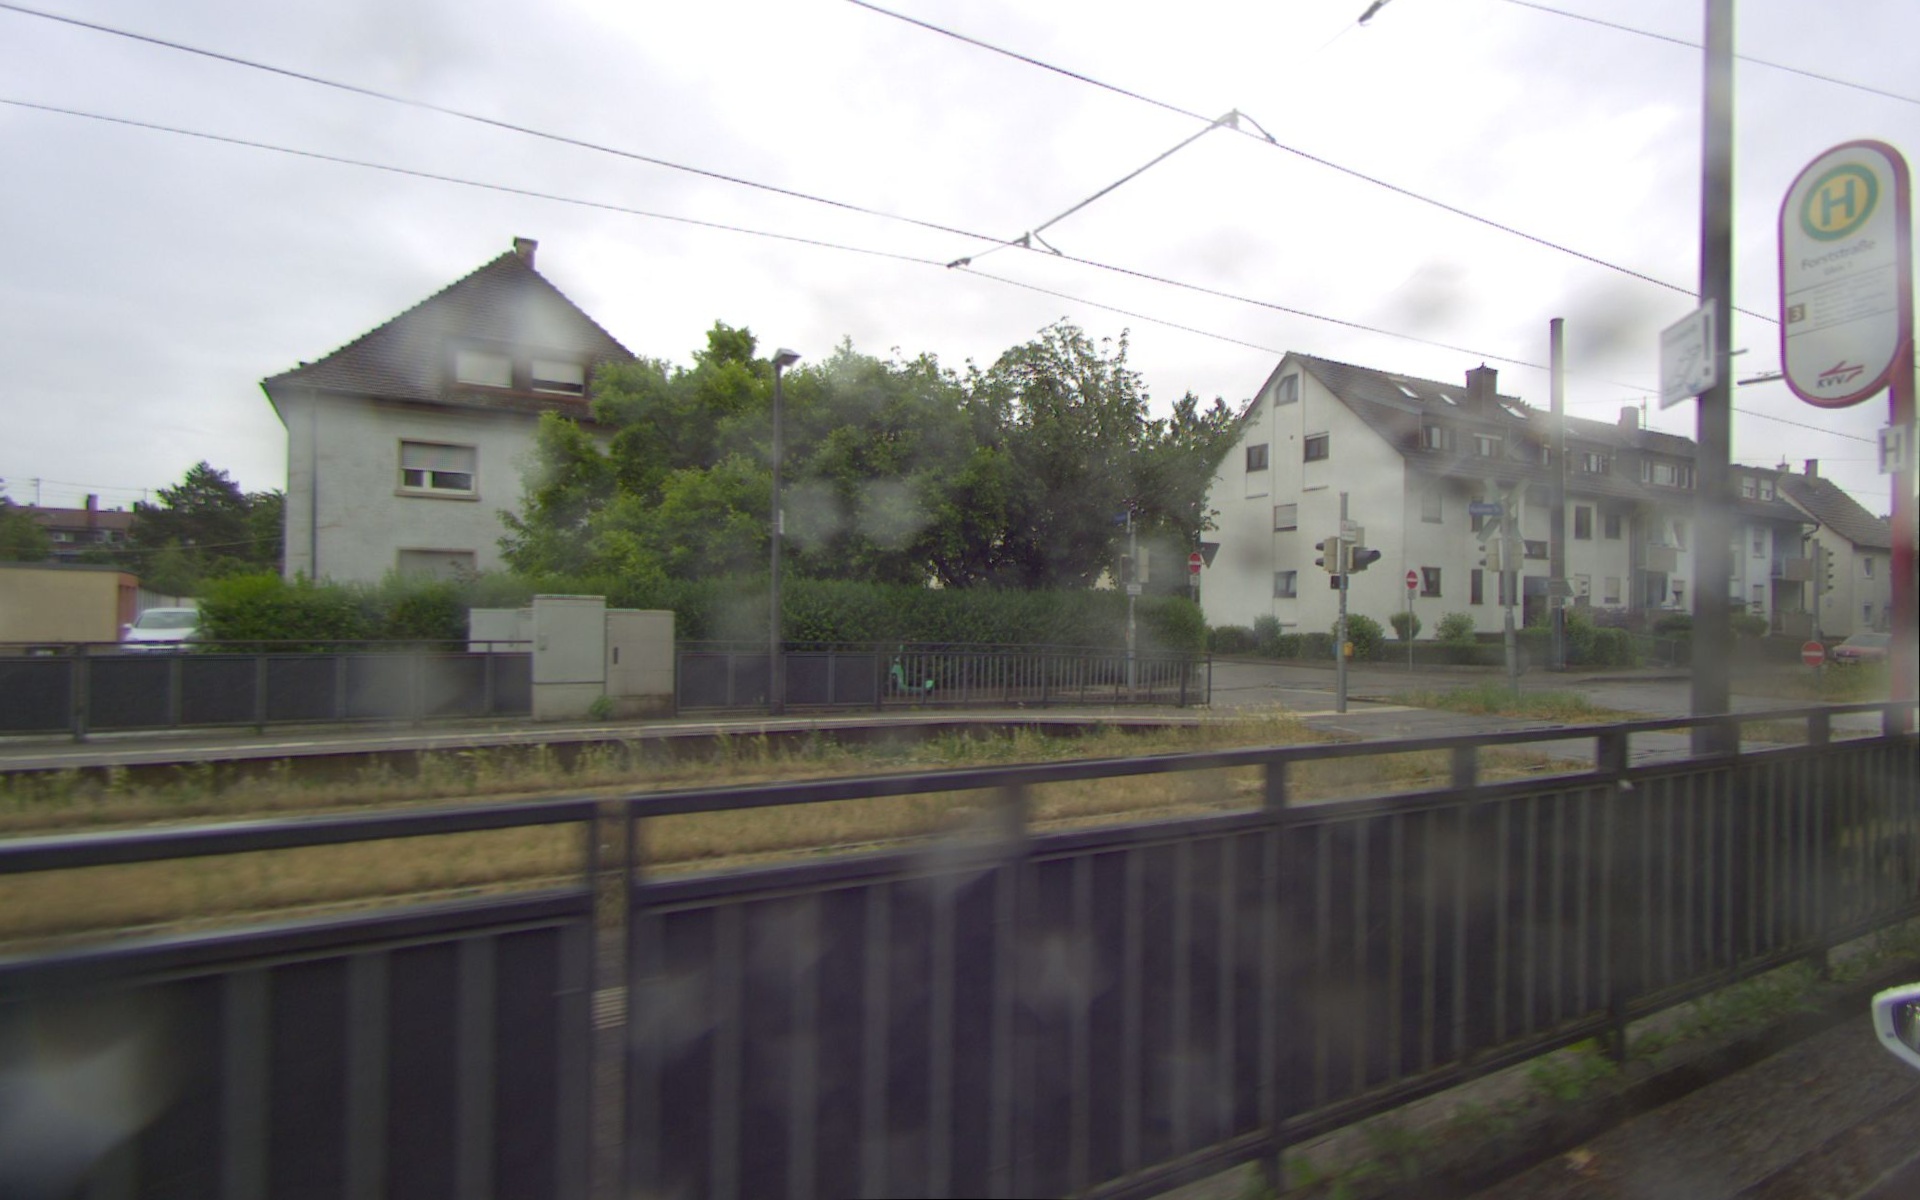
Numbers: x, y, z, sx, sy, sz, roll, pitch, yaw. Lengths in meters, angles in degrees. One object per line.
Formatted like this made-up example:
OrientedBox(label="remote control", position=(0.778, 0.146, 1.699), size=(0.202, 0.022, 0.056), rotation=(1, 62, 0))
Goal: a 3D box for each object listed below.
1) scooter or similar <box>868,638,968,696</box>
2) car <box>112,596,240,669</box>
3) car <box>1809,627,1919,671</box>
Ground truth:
OrientedBox(label="scooter or similar", position=(-0.820, 1.311, 19.814), size=(1.844, 1.086, 0.660), rotation=(2, 0, -30))
OrientedBox(label="car", position=(-21.430, 0.844, 27.649), size=(1.974, 1.840, 3.972), rotation=(2, 0, -27))
OrientedBox(label="car", position=(34.031, 1.847, 37.715), size=(3.949, 1.506, 1.921), rotation=(2, 0, -27))
